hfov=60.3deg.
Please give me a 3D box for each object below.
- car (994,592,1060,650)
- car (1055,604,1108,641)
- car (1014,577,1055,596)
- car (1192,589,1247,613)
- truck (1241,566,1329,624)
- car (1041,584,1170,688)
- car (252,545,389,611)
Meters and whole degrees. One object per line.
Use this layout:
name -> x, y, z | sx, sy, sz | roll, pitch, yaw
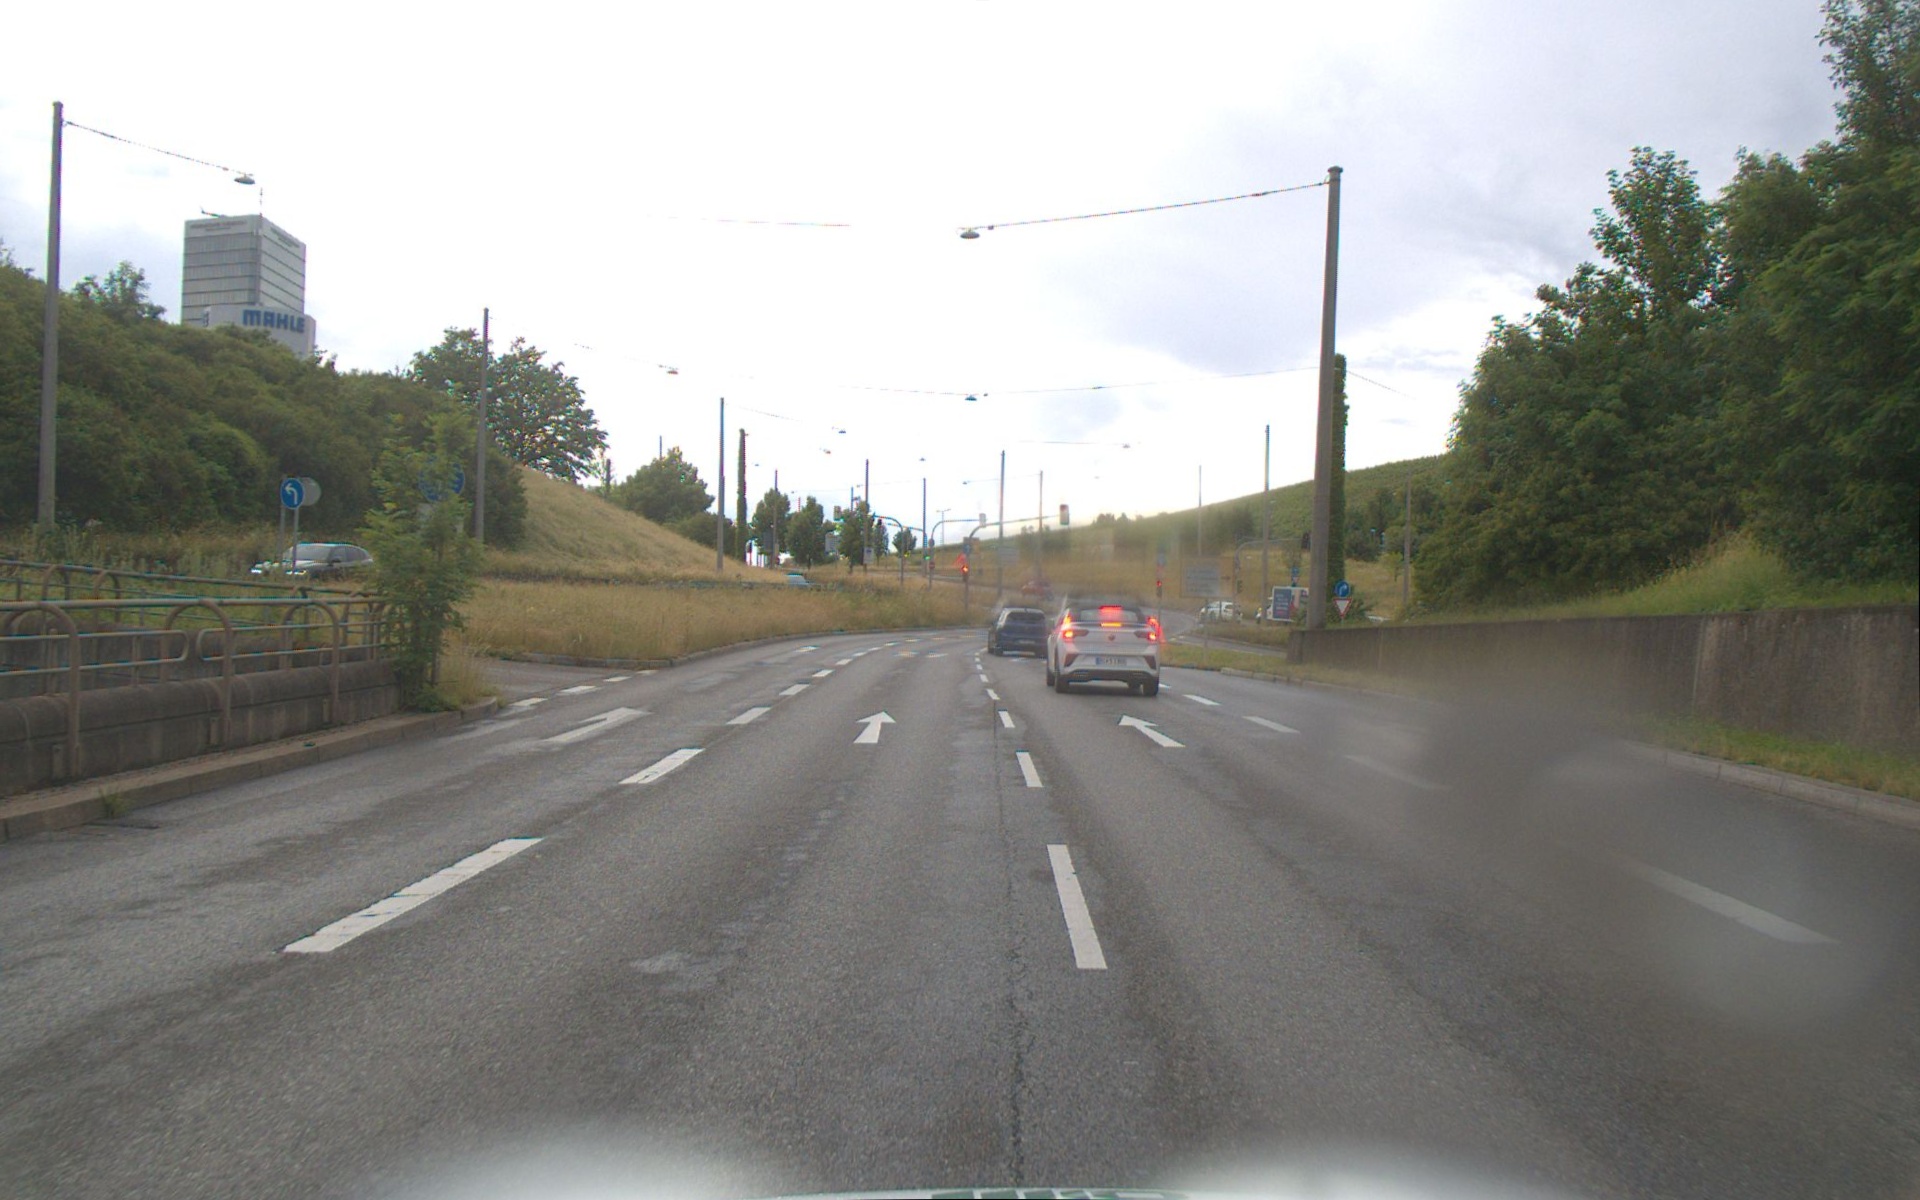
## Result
car -> 2.113, 0.661, 51.134 | 1.886, 1.627, 4.063 | 2, -1, 4
car -> 5.721, 1.062, 77.481 | 1.737, 1.545, 3.727 | 4, 0, 15
car -> 6.846, -1.239, 151.970 | 1.968, 1.742, 4.529 | 0, 1, -24
car -> 18.846, 0.071, 120.432 | 1.965, 1.527, 4.536 | 0, 3, -21
truck -> 22.001, -0.380, 112.158 | 2.809, 3.587, 6.193 | 0, 3, -23
car -> 2.486, 0.610, 29.169 | 1.955, 1.606, 4.126 | 3, -1, 2
car -> -18.292, -0.586, 47.562 | 1.953, 1.665, 4.722 | 4, 0, 1
